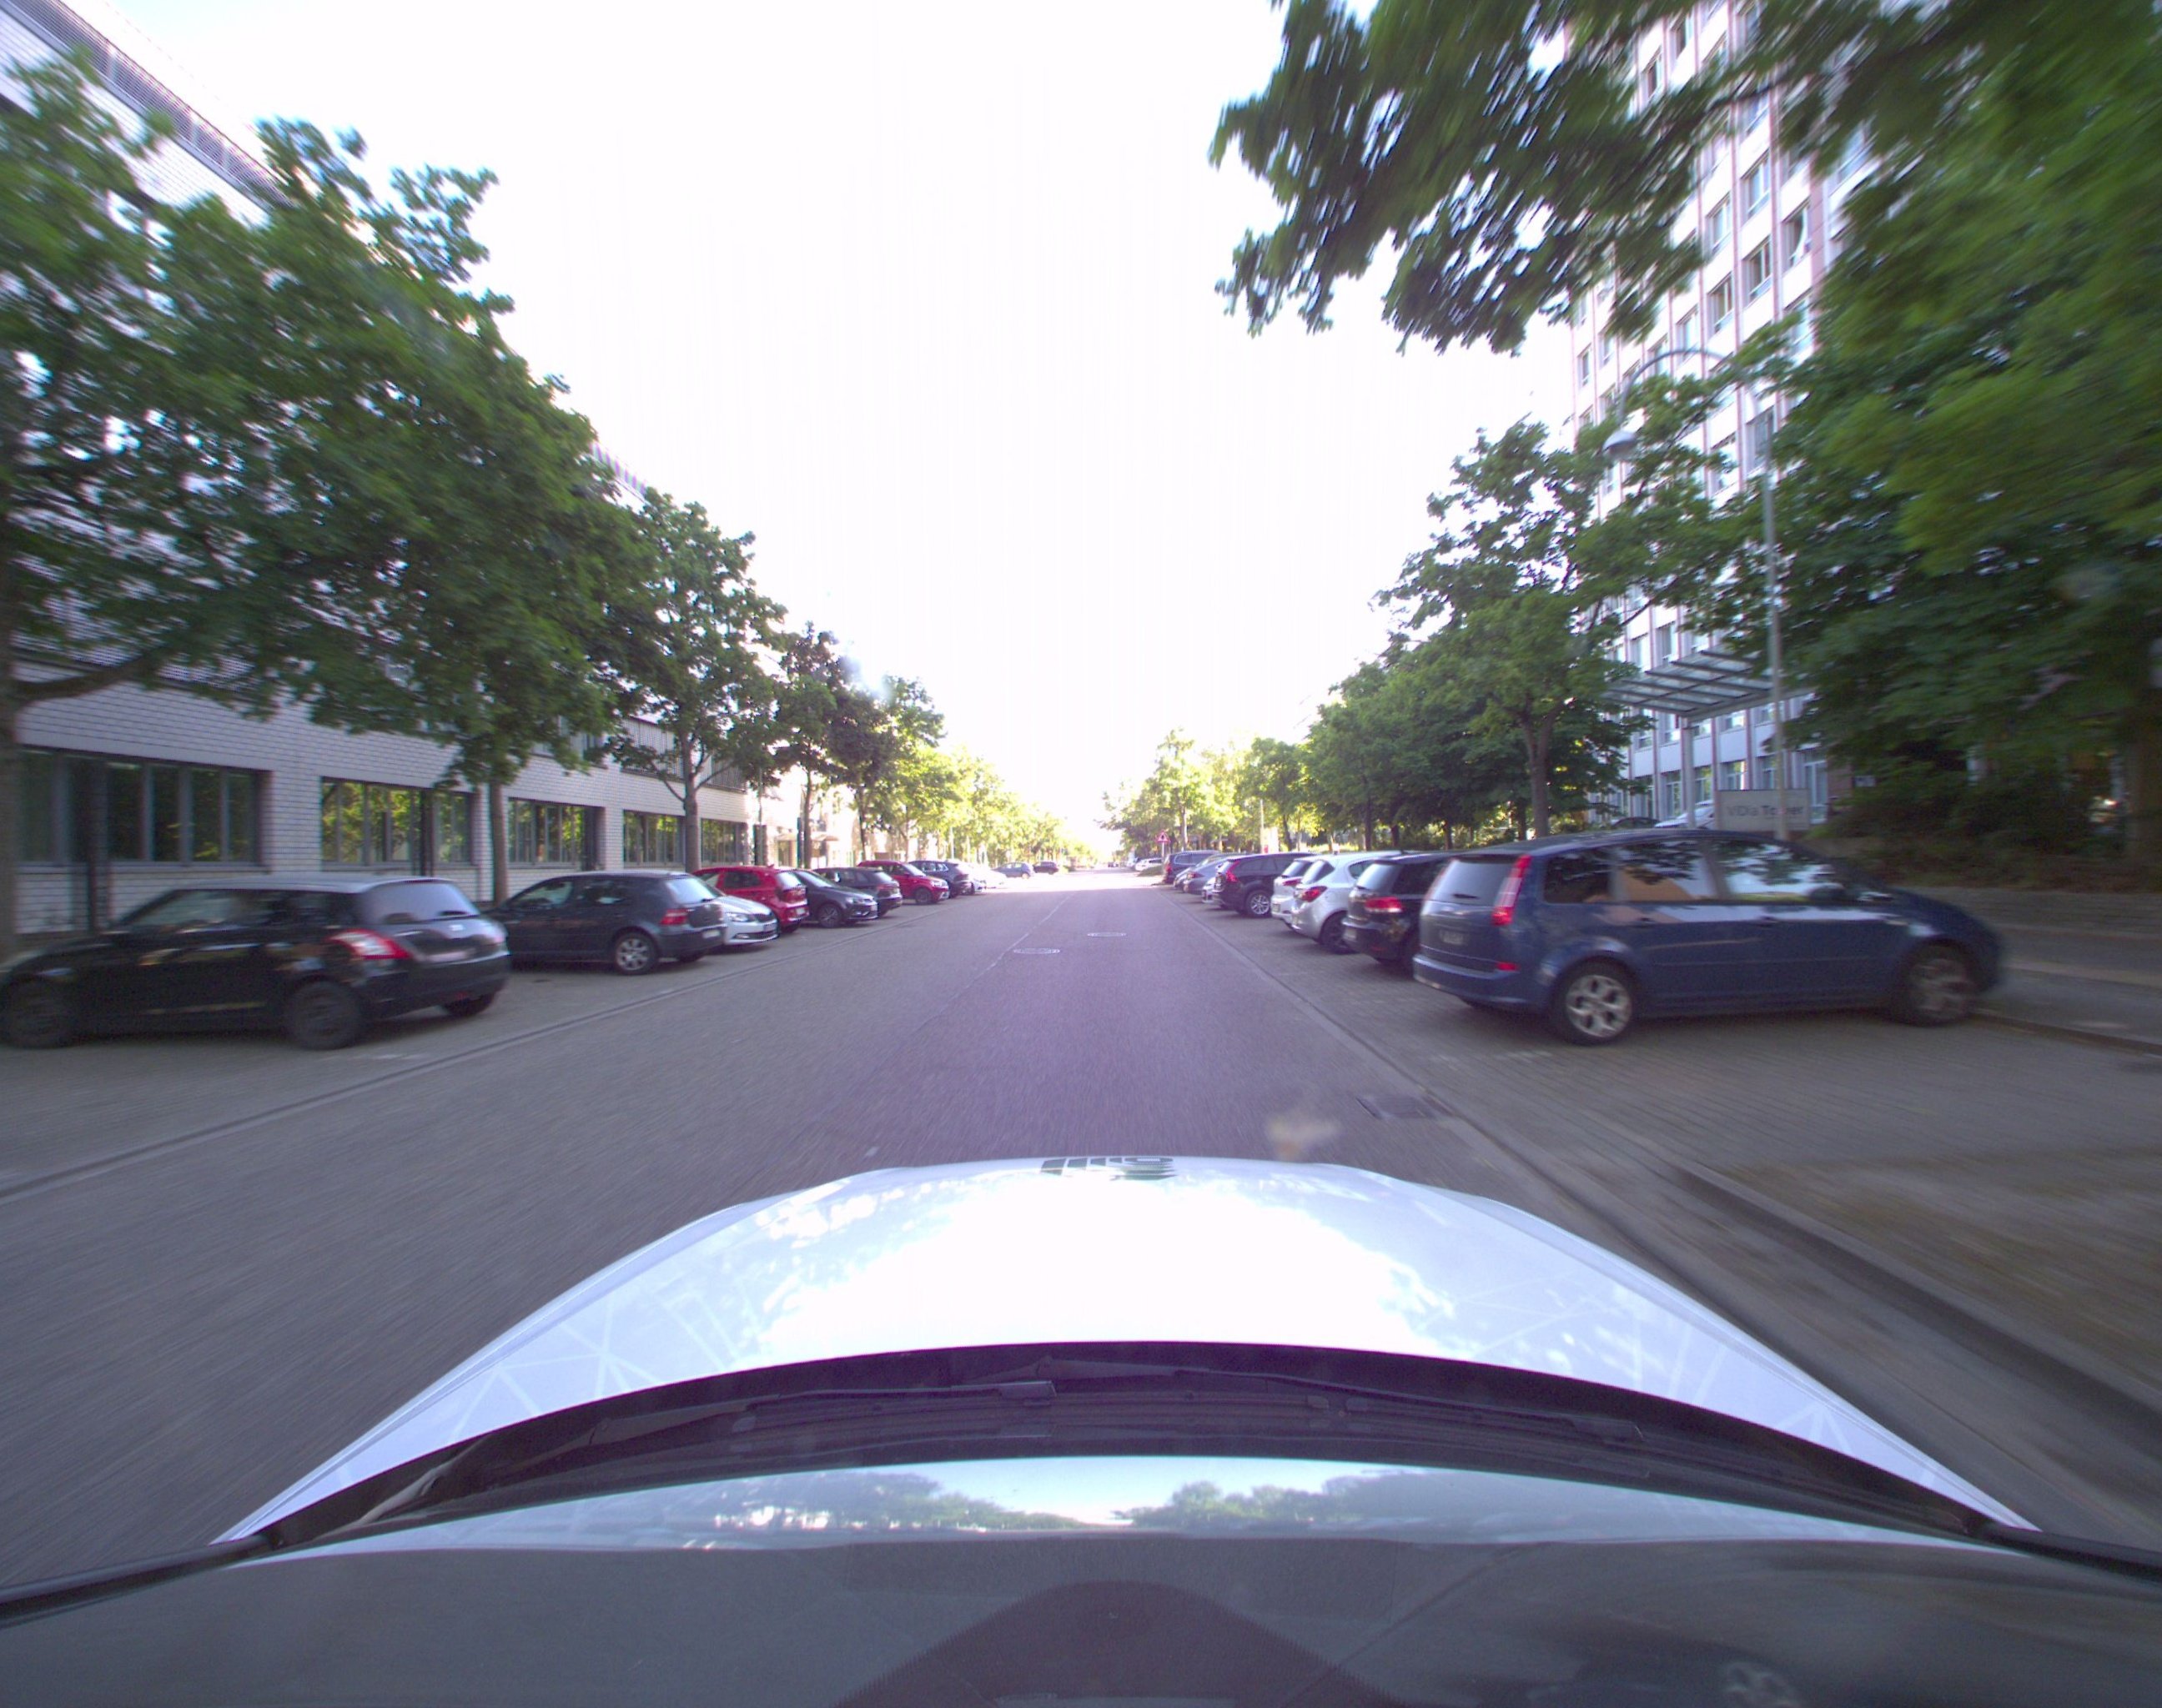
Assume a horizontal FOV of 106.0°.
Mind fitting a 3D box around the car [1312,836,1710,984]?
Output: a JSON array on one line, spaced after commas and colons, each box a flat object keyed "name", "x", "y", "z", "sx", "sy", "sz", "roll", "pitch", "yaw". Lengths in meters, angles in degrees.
[{"name": "car", "x": 5.030, "y": 0.635, "z": 9.991, "sx": 3.868, "sy": 1.526, "sz": 1.896, "roll": -2, "pitch": -1, "yaw": 1}]

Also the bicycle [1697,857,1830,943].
[{"name": "bicycle", "x": 9.144, "y": 0.576, "z": 11.005, "sx": 0.377, "sy": 1.047, "sz": 1.888, "roll": -3, "pitch": -1, "yaw": 7}]

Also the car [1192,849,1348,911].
[{"name": "car", "x": 5.341, "y": 0.710, "z": 23.282, "sx": 4.038, "sy": 1.591, "sz": 1.547, "roll": -2, "pitch": -1, "yaw": -6}]

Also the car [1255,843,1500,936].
[{"name": "car", "x": 5.396, "y": 0.632, "z": 15.248, "sx": 3.851, "sy": 1.468, "sz": 1.967, "roll": -2, "pitch": -1, "yaw": 1}]

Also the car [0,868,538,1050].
[{"name": "car", "x": -7.614, "y": 0.911, "z": 7.767, "sx": 3.719, "sy": 1.464, "sz": 1.677, "roll": -1, "pitch": -1, "yaw": 1}]

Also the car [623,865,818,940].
[{"name": "car", "x": -7.577, "y": 0.990, "z": 17.370, "sx": 3.411, "sy": 1.463, "sz": 1.694, "roll": 0, "pitch": 0, "yaw": -3}]

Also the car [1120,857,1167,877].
[{"name": "car", "x": 5.523, "y": 1.168, "z": 72.531, "sx": 3.978, "sy": 1.624, "sz": 1.998, "roll": -1, "pitch": -1, "yaw": -3}]

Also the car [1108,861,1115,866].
[{"name": "car", "x": 9.024, "y": 2.860, "z": 242.665, "sx": 1.926, "sy": 1.597, "sz": 4.368, "roll": -2, "pitch": -1, "yaw": 2}]

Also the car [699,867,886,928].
[{"name": "car", "x": -7.017, "y": 1.041, "z": 20.064, "sx": 3.974, "sy": 1.413, "sz": 1.665, "roll": 0, "pitch": -1, "yaw": 0}]

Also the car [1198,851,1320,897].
[{"name": "car", "x": 6.471, "y": 0.728, "z": 29.906, "sx": 4.034, "sy": 1.421, "sz": 1.735, "roll": -3, "pitch": -1, "yaw": -2}]

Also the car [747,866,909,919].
[{"name": "car", "x": -6.965, "y": 1.047, "z": 22.674, "sx": 3.976, "sy": 1.406, "sz": 1.604, "roll": 0, "pitch": -1, "yaw": -2}]

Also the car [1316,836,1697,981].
[{"name": "car", "x": 5.082, "y": 0.635, "z": 10.196, "sx": 3.725, "sy": 1.467, "sz": 1.912, "roll": -3, "pitch": -1, "yaw": 3}]

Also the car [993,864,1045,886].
[{"name": "car", "x": -4.895, "y": 1.633, "z": 64.350, "sx": 3.977, "sy": 1.533, "sz": 1.616, "roll": -2, "pitch": 0, "yaw": -3}]

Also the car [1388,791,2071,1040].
[{"name": "car", "x": 5.081, "y": 0.449, "z": 6.853, "sx": 4.255, "sy": 1.633, "sz": 1.857, "roll": -2, "pitch": -1, "yaw": -1}]

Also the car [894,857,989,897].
[{"name": "car", "x": -6.336, "y": 1.030, "z": 37.260, "sx": 3.973, "sy": 1.719, "sz": 1.709, "roll": -1, "pitch": -1, "yaw": 0}]

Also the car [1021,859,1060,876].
[{"name": "car", "x": -4.410, "y": 1.500, "z": 89.053, "sx": 3.972, "sy": 1.684, "sz": 2.001, "roll": -2, "pitch": -1, "yaw": 1}]

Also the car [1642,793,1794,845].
[{"name": "car", "x": 23.170, "y": -1.247, "z": 29.747, "sx": 4.061, "sy": 1.783, "sz": 1.998, "roll": 0, "pitch": -1, "yaw": -2}]

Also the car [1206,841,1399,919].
[{"name": "car", "x": 5.286, "y": 0.624, "z": 19.948, "sx": 4.227, "sy": 1.554, "sz": 1.923, "roll": -4, "pitch": -1, "yaw": 6}]

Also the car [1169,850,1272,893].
[{"name": "car", "x": 5.861, "y": 0.726, "z": 34.513, "sx": 4.032, "sy": 1.582, "sz": 1.640, "roll": -3, "pitch": -1, "yaw": -1}]

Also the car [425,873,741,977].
[{"name": "car", "x": -7.374, "y": 1.016, "z": 12.296, "sx": 3.747, "sy": 1.445, "sz": 1.632, "roll": 0, "pitch": -1, "yaw": 2}]

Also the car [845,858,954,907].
[{"name": "car", "x": -6.609, "y": 1.030, "z": 29.893, "sx": 3.525, "sy": 1.657, "sz": 1.763, "roll": -1, "pitch": -2, "yaw": 3}]

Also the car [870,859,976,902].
[{"name": "car", "x": -6.581, "y": 1.103, "z": 34.136, "sx": 3.968, "sy": 1.587, "sz": 1.767, "roll": -2, "pitch": -2, "yaw": 4}]

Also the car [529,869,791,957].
[{"name": "car", "x": -7.581, "y": 1.030, "z": 14.961, "sx": 3.855, "sy": 1.457, "sz": 1.754, "roll": 0, "pitch": 1, "yaw": -1}]

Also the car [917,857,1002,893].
[{"name": "car", "x": -6.308, "y": 1.077, "z": 42.509, "sx": 3.969, "sy": 1.654, "sz": 1.862, "roll": -2, "pitch": -1, "yaw": 4}]

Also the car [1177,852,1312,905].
[{"name": "car", "x": 5.304, "y": 0.782, "z": 26.711, "sx": 4.032, "sy": 1.491, "sz": 1.549, "roll": -3, "pitch": -1, "yaw": -1}]

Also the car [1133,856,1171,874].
[{"name": "car", "x": 7.897, "y": 1.225, "z": 90.832, "sx": 3.978, "sy": 1.792, "sz": 1.998, "roll": -1, "pitch": -1, "yaw": -3}]

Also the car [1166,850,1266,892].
[{"name": "car", "x": 5.703, "y": 0.720, "z": 34.666, "sx": 3.883, "sy": 1.656, "sz": 1.856, "roll": -1, "pitch": -1, "yaw": -3}]

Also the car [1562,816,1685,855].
[{"name": "car", "x": 24.538, "y": -0.797, "z": 36.933, "sx": 4.289, "sy": 1.672, "sz": 1.998, "roll": 0, "pitch": -1, "yaw": -2}]

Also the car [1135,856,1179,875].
[{"name": "car", "x": 7.309, "y": 1.116, "z": 78.678, "sx": 3.978, "sy": 1.792, "sz": 1.998, "roll": -1, "pitch": -1, "yaw": -3}]

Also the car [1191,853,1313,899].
[{"name": "car", "x": 6.169, "y": 0.795, "z": 29.614, "sx": 4.032, "sy": 1.454, "sz": 1.518, "roll": -3, "pitch": -1, "yaw": -1}]

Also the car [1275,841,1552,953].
[{"name": "car", "x": 5.053, "y": 0.638, "z": 12.721, "sx": 3.622, "sy": 1.467, "sz": 1.633, "roll": -3, "pitch": -1, "yaw": 1}]

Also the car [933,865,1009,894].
[{"name": "car", "x": -6.078, "y": 1.396, "z": 45.402, "sx": 3.974, "sy": 1.481, "sz": 1.679, "roll": -1, "pitch": -1, "yaw": 0}]

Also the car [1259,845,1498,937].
[{"name": "car", "x": 5.460, "y": 0.666, "z": 15.305, "sx": 3.742, "sy": 1.449, "sz": 1.879, "roll": -3, "pitch": -1, "yaw": -1}]

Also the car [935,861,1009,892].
[{"name": "car", "x": -6.030, "y": 1.237, "z": 45.310, "sx": 3.884, "sy": 1.612, "sz": 1.856, "roll": -1, "pitch": -1, "yaw": -3}]
